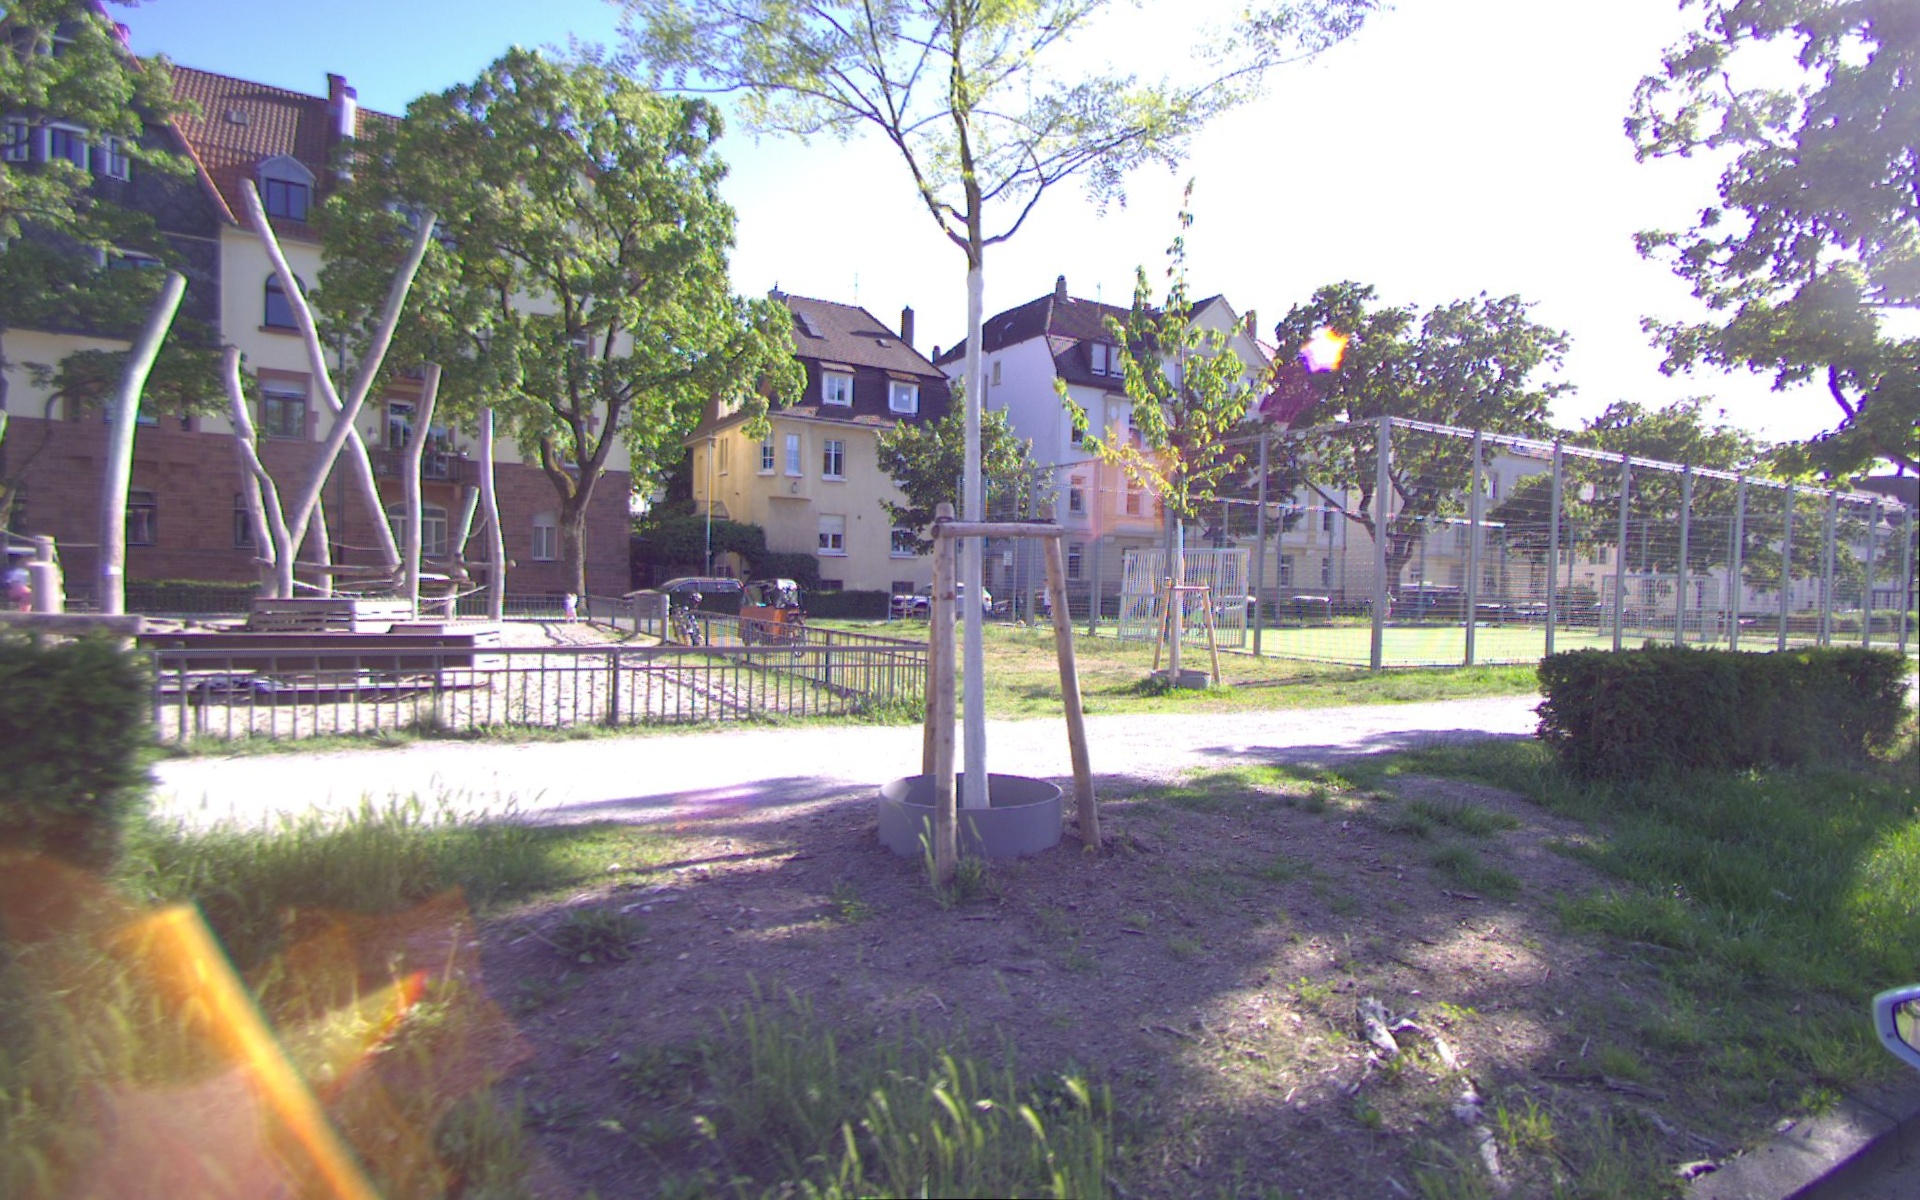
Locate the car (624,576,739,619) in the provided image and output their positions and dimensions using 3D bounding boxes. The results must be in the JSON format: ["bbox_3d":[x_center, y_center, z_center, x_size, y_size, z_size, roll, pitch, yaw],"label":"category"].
[{"bbox_3d":[-10.723,-0.081,38.693,3.953,1.530,1.785,1,2,-30],"label":"car"}]

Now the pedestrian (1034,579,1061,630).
[{"bbox_3d":[2.355,0.104,27.010,0.637,1.336,0.650,2,1,-1],"label":"pedestrian"}]

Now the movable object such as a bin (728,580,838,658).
[{"bbox_3d":[-3.117,0.299,17.473,1.045,1.258,2.316,0,1,-33],"label":"movable object such as a bin"}]

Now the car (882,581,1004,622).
[{"bbox_3d":[-0.730,0.067,44.273,5.121,1.674,1.872,1,2,-30],"label":"car"}]

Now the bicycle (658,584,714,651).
[{"bbox_3d":[-4.980,0.297,18.180,0.494,1.122,1.785,0,2,-31],"label":"bicycle"}]

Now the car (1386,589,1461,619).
[{"bbox_3d":[25.366,0.234,54.952,3.953,1.530,1.785,1,2,-30],"label":"car"}]

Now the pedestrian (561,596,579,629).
[{"bbox_3d":[-9.803,0.318,25.225,0.354,0.815,0.481,1,2,-28],"label":"pedestrian"}]

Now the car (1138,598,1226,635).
[{"bbox_3d":[11.636,0.851,52.524,4.435,1.801,1.785,1,2,-30],"label":"car"}]

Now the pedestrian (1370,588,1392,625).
[{"bbox_3d":[19.638,0.312,46.866,0.642,1.683,0.645,1,0,-30],"label":"pedestrian"}]

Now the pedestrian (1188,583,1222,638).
[{"bbox_3d":[6.130,0.257,25.122,0.637,1.336,0.650,2,1,-1],"label":"pedestrian"}]

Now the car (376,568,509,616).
[{"bbox_3d":[-17.757,-0.267,34.504,3.953,1.530,1.785,1,2,-30],"label":"car"}]

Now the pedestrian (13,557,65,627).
[{"bbox_3d":[-17.890,-0.156,19.524,0.643,1.336,0.644,0,2,-33],"label":"pedestrian"}]

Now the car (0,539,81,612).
[{"bbox_3d":[-27.851,-0.731,27.967,4.778,2.009,1.785,1,2,-30],"label":"car"}]

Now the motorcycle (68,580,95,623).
[{"bbox_3d":[-17.451,0.024,19.963,0.281,0.838,0.698,0,2,-31],"label":"motorcycle"}]

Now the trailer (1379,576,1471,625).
[{"bbox_3d":[29.014,0.058,62.607,5.736,2.909,2.331,1,2,-31],"label":"trailer"}]
